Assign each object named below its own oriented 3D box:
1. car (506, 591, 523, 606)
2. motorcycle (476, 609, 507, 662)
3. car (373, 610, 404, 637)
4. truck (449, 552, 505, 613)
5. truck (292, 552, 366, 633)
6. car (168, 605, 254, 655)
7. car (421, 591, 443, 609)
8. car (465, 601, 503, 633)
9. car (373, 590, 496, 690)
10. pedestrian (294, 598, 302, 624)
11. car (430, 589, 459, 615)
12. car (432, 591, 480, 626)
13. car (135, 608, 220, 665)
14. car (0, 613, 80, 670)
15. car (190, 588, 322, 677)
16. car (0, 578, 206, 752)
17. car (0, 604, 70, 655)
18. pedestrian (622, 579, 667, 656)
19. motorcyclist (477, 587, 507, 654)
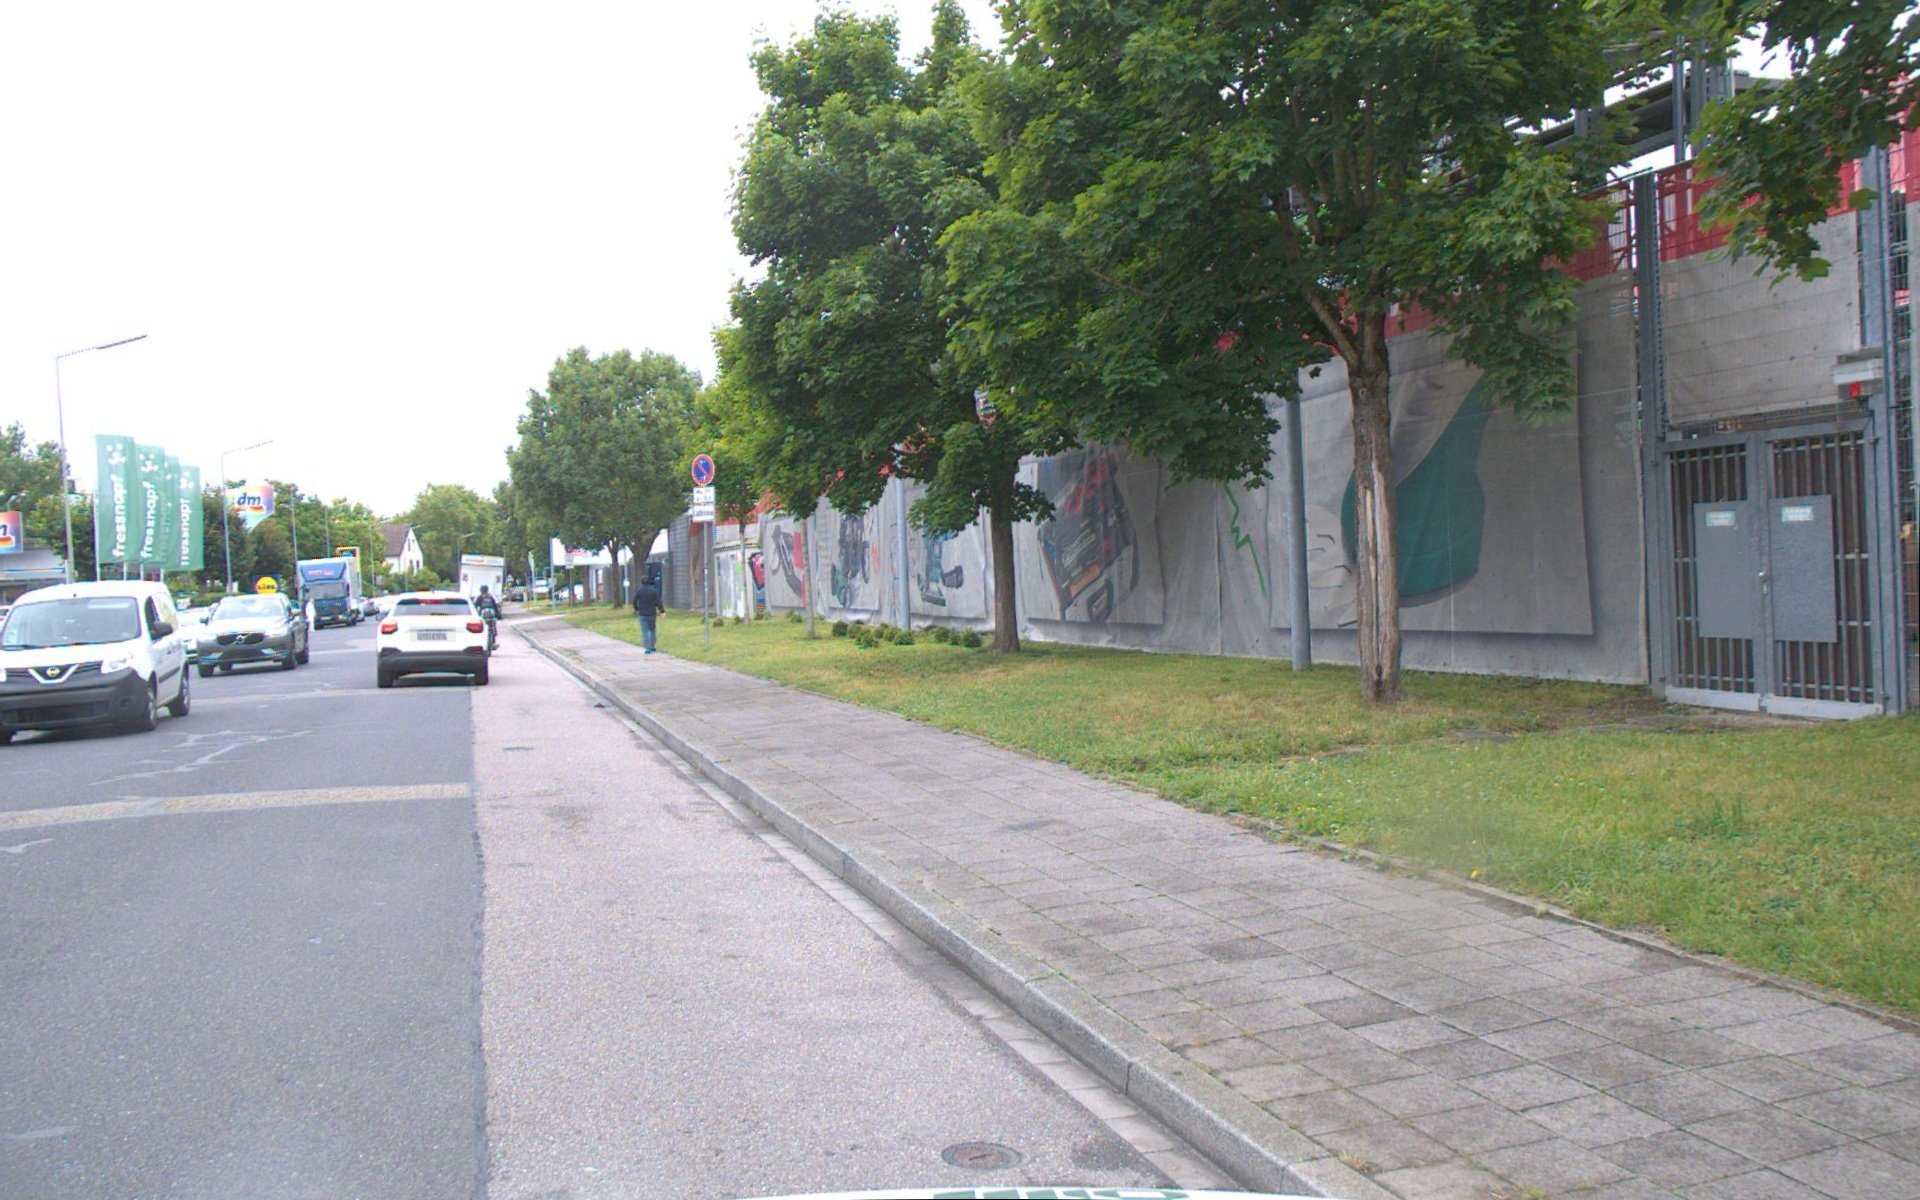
[{"bbox_3d":[-53.225,-0.182,197.685,1.856,1.713,4.235,-1,0,-16],"label":"car"},{"bbox_3d":[-11.460,0.852,40.501,0.630,1.199,2.105,-3,1,-15],"label":"motorcycle"},{"bbox_3d":[-35.514,1.432,102.822,1.573,1.554,3.512,-4,1,-16],"label":"car"},{"bbox_3d":[-30.986,-1.053,105.877,3.086,3.647,9.999,-1,0,-18],"label":"truck"},{"bbox_3d":[-34.119,-0.424,89.648,2.927,4.024,6.376,-4,1,-16],"label":"truck"},{"bbox_3d":[-23.620,0.914,52.301,1.868,1.391,3.982,-3,1,-17],"label":"car"},{"bbox_3d":[-51.671,0.017,161.836,1.963,1.713,3.979,-1,0,-18],"label":"car"},{"bbox_3d":[-27.995,0.988,97.216,1.963,1.837,3.979,-1,0,-18],"label":"car"},{"bbox_3d":[-8.949,0.620,28.441,1.856,1.558,4.235,-1,0,-16],"label":"car"},{"bbox_3d":[-41.341,0.683,103.262,0.396,1.558,0.482,-3,1,-23],"label":"pedestrian"},{"bbox_3d":[-37.212,0.142,119.266,1.841,1.690,3.979,-4,1,-18],"label":"car"},{"bbox_3d":[-22.335,0.357,73.260,1.907,1.390,3.981,-4,1,-17],"label":"car"},{"bbox_3d":[-21.717,0.985,46.043,1.872,1.391,3.972,-3,1,-23],"label":"car"},{"bbox_3d":[-27.314,1.226,46.720,4.150,1.488,1.938,-3,1,-25],"label":"car"},{"bbox_3d":[-15.338,0.653,36.247,1.901,1.713,4.478,-4,1,-15],"label":"car"},{"bbox_3d":[-10.560,0.707,20.314,1.663,1.791,4.116,-5,2,-16],"label":"car"},{"bbox_3d":[-29.887,0.963,50.946,4.079,1.488,1.885,-3,1,-23],"label":"car"},{"bbox_3d":[-7.002,0.381,36.708,0.904,1.663,0.849,-1,0,-15],"label":"pedestrian"},{"bbox_3d":[-11.453,0.498,40.454,0.614,1.581,0.601,-3,1,-15],"label":"motorcyclist"}]
